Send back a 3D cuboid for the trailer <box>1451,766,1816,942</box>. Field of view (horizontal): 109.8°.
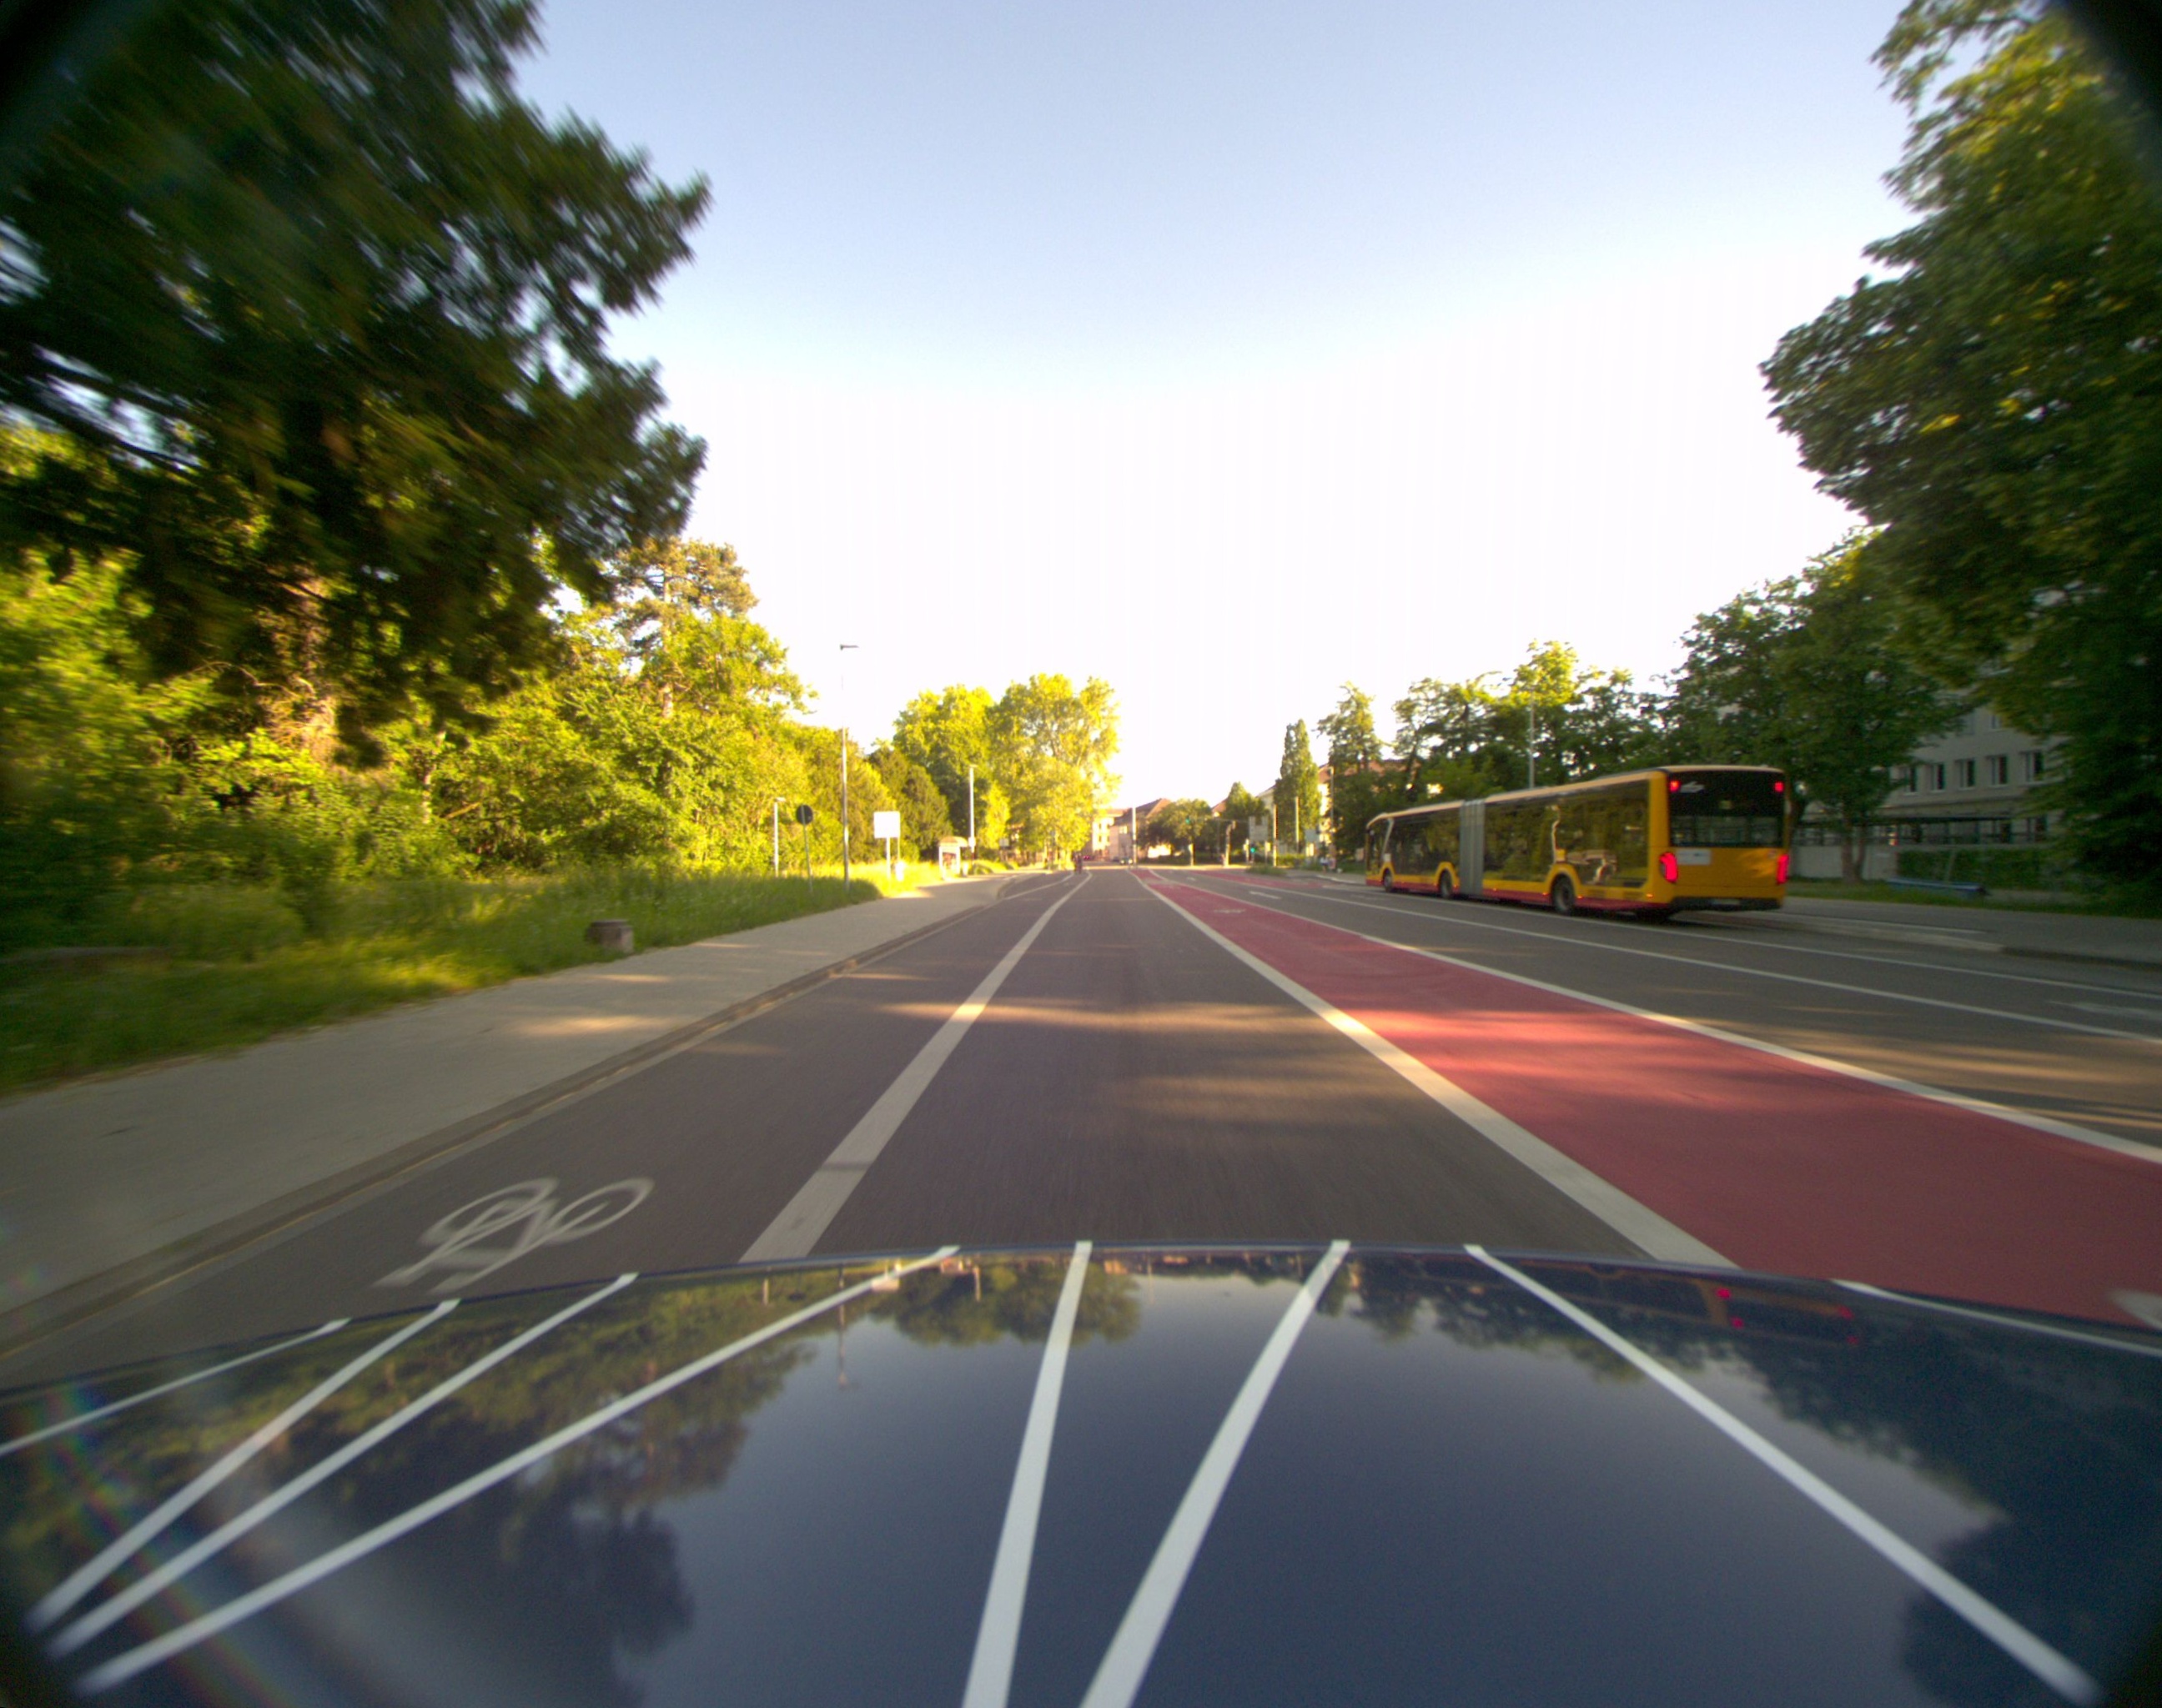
[{"bbox_3d":[13.118,-0.024,19.582,2.861,3.336,9.363,-2,0,3],"label":"trailer"}]

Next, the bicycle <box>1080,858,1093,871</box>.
[{"bbox_3d":[0.457,0.907,64.368,0.694,1.089,2.138,0,0,12],"label":"bicycle"}]

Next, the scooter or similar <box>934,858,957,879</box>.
[{"bbox_3d":[-8.319,0.903,46.635,0.722,1.240,1.330,0,0,24],"label":"scooter or similar"}]

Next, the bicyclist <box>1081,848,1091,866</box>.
[{"bbox_3d":[0.436,0.278,64.309,0.694,1.482,0.801,0,1,12],"label":"bicyclist"}]

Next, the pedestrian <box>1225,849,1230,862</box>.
[{"bbox_3d":[21.558,0.227,111.997,0.744,1.805,0.727,0,1,9],"label":"pedestrian"}]

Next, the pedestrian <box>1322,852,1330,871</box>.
[{"bbox_3d":[19.752,0.581,61.258,0.452,1.525,0.571,0,1,-3],"label":"pedestrian"}]

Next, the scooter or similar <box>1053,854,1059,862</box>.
[{"bbox_3d":[-3.922,0.602,121.087,0.794,1.248,1.836,4,0,1],"label":"scooter or similar"}]

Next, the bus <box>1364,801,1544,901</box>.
[{"bbox_3d":[13.528,-0.103,28.630,2.847,3.178,8.600,0,0,2],"label":"bus"}]

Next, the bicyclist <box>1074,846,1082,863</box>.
[{"bbox_3d":[-0.306,0.040,69.311,0.695,1.493,0.892,0,1,-2],"label":"bicyclist"}]

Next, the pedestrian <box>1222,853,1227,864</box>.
[{"bbox_3d":[20.323,0.643,107.946,0.691,1.672,0.681,0,1,9],"label":"pedestrian"}]

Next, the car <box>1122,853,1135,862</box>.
[{"bbox_3d":[7.604,0.485,121.213,1.722,1.409,4.526,0,0,0],"label":"car"}]

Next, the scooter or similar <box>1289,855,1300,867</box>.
[{"bbox_3d":[22.475,0.712,79.979,0.693,1.286,1.499,0,1,30],"label":"scooter or similar"}]
